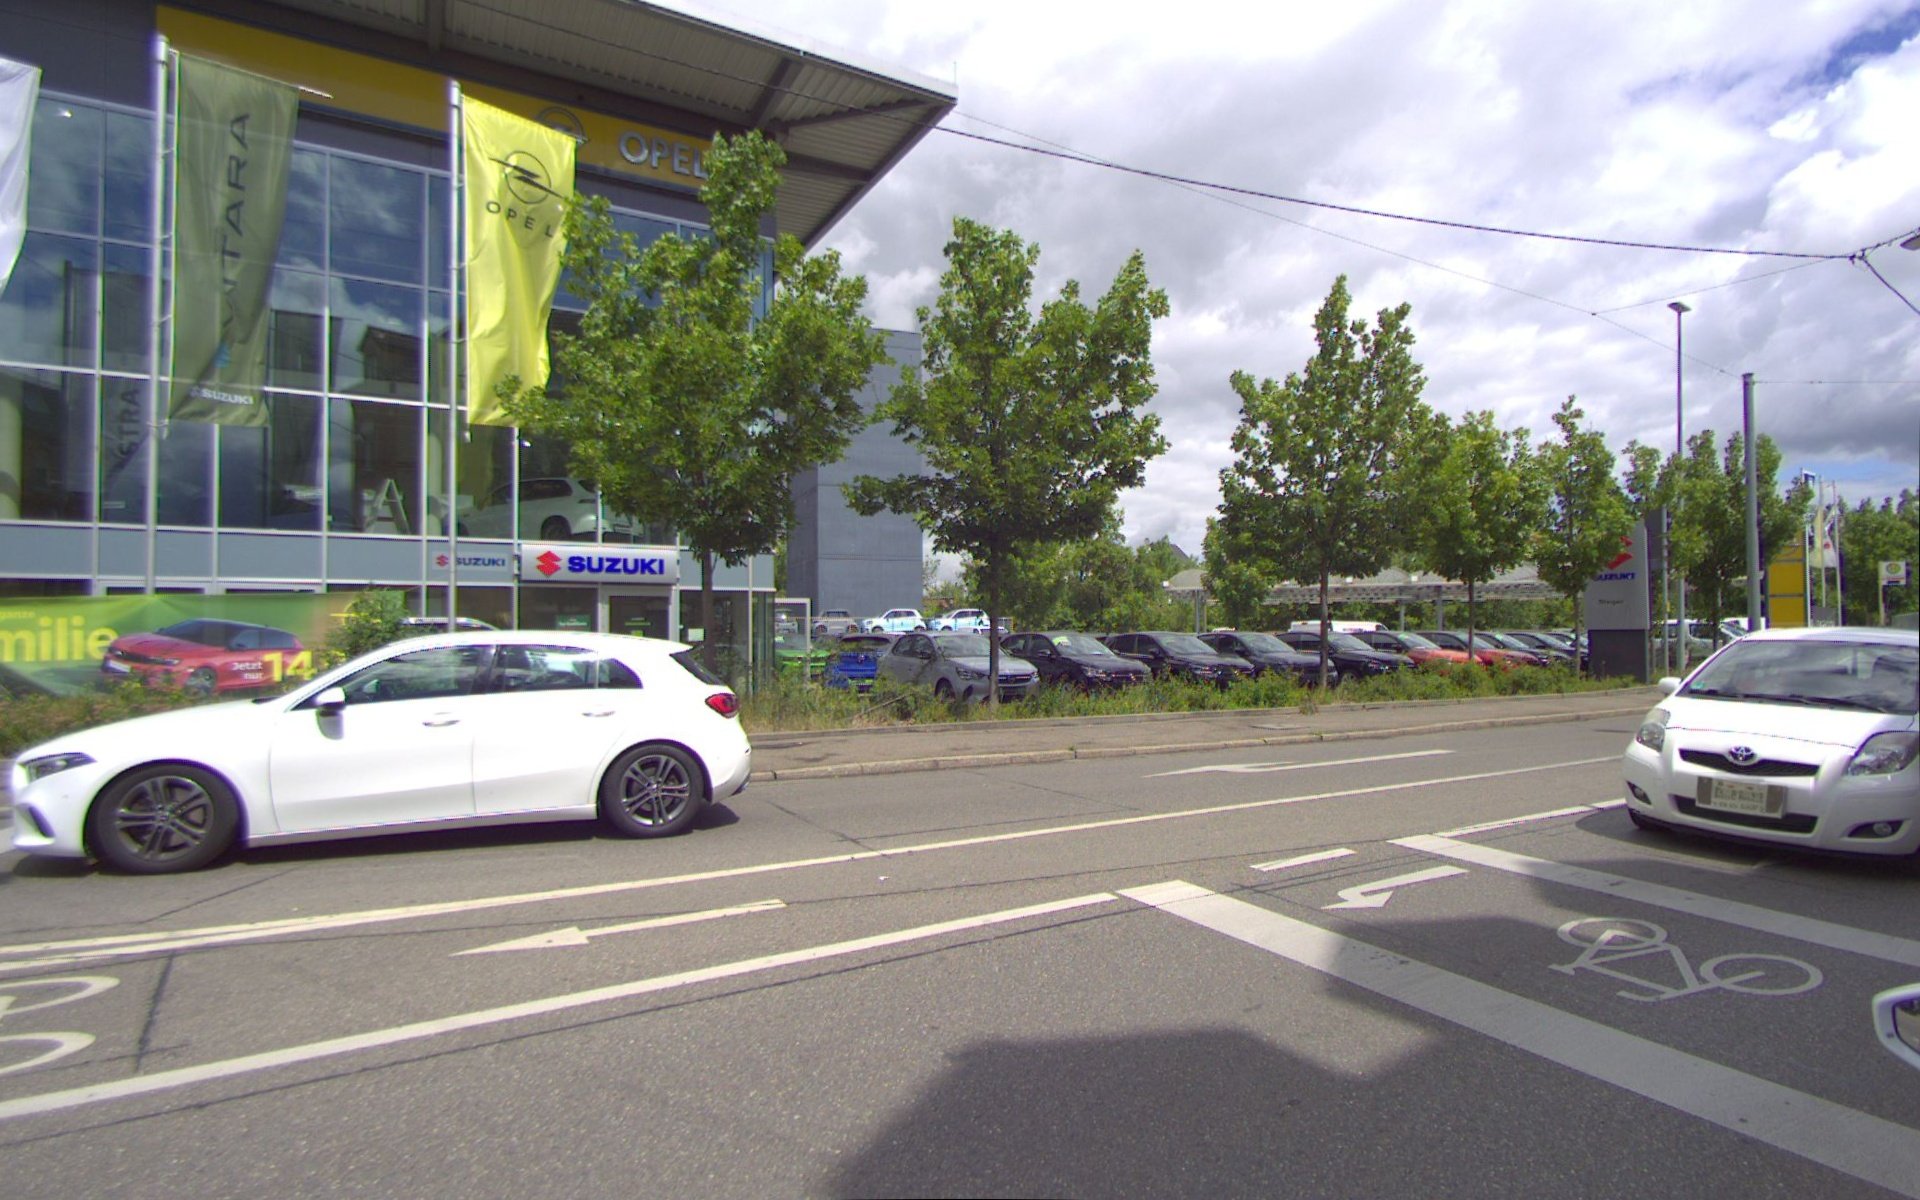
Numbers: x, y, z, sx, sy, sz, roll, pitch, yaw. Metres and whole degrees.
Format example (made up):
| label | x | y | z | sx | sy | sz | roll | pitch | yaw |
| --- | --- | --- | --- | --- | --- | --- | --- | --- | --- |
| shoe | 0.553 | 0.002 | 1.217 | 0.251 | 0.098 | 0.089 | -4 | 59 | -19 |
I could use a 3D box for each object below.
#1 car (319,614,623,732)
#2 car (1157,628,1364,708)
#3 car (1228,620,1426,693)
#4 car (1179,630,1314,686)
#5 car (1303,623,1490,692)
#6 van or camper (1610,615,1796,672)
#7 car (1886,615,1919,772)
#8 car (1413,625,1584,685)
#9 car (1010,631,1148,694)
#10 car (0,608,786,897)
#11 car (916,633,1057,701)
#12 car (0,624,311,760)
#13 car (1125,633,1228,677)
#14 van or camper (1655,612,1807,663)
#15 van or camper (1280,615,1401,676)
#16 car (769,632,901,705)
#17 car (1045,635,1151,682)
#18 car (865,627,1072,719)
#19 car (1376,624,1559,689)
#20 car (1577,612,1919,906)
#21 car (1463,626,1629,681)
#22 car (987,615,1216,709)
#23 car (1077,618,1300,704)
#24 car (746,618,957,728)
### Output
| label | x | y | z | sx | sy | sz | roll | pitch | yaw |
| --- | --- | --- | --- | --- | --- | --- | --- | --- | --- |
| car | -7.419 | 1.058 | 15.455 | 3.947 | 1.583 | 1.934 | 2 | -1 | -29 |
| car | 6.391 | 1.416 | 21.729 | 1.795 | 1.517 | 4.028 | 0 | -2 | -36 |
| car | 8.373 | 1.272 | 23.178 | 1.795 | 1.517 | 3.954 | 0 | -2 | -36 |
| car | 7.749 | 1.564 | 27.337 | 1.503 | 1.391 | 3.292 | 0 | -2 | -37 |
| car | 10.599 | 1.372 | 24.585 | 1.795 | 1.517 | 3.801 | 0 | -2 | -36 |
| van or camper | 24.973 | 1.447 | 33.947 | 1.978 | 1.773 | 4.643 | 0 | -2 | -32 |
| car | 11.947 | 1.021 | 11.008 | 4.273 | 1.602 | 1.708 | 2 | -1 | -34 |
| car | 14.874 | 1.497 | 27.893 | 1.797 | 1.517 | 3.783 | 0 | -2 | -39 |
| car | 2.849 | 1.496 | 24.578 | 1.503 | 1.391 | 3.292 | 0 | -2 | -37 |
| car | -3.573 | 0.907 | 6.925 | 4.401 | 1.516 | 1.715 | 2 | -4 | -24 |
| car | 0.549 | 1.498 | 22.915 | 1.503 | 1.391 | 3.292 | 0 | -2 | -37 |
| car | -11.234 | 1.157 | 13.381 | 4.258 | 1.583 | 1.932 | 2 | -1 | -32 |
| car | 7.402 | 1.866 | 34.523 | 1.503 | 1.391 | 3.292 | 0 | -2 | -37 |
| van or camper | 31.498 | 1.508 | 41.119 | 4.864 | 1.989 | 1.989 | -1 | 0 | -5 |
| van or camper | 13.990 | 1.630 | 36.807 | 4.642 | 2.040 | 1.979 | 0 | -2 | -37 |
| car | -2.680 | 1.408 | 21.141 | 1.503 | 1.391 | 2.991 | 0 | -2 | -35 |
| car | 4.390 | 1.855 | 32.327 | 1.503 | 1.391 | 3.292 | 0 | -2 | -37 |
| car | 0.022 | 1.244 | 17.974 | 1.793 | 1.412 | 4.044 | 0 | -2 | -33 |
| car | 13.014 | 1.439 | 25.939 | 1.796 | 1.517 | 3.821 | 0 | -2 | -37 |
| car | 6.406 | 0.938 | 7.375 | 3.958 | 1.602 | 1.708 | 2 | -1 | -34 |
| car | 17.031 | 1.552 | 29.343 | 1.757 | 1.480 | 3.804 | 0 | -2 | -38 |
| car | 2.482 | 1.102 | 18.578 | 1.795 | 1.517 | 4.179 | 0 | -2 | -36 |
| car | 4.456 | 1.178 | 20.183 | 1.795 | 1.517 | 4.250 | 0 | -2 | -36 |
| car | -1.876 | 1.108 | 16.185 | 1.793 | 1.517 | 3.965 | 0 | -2 | -33 |
